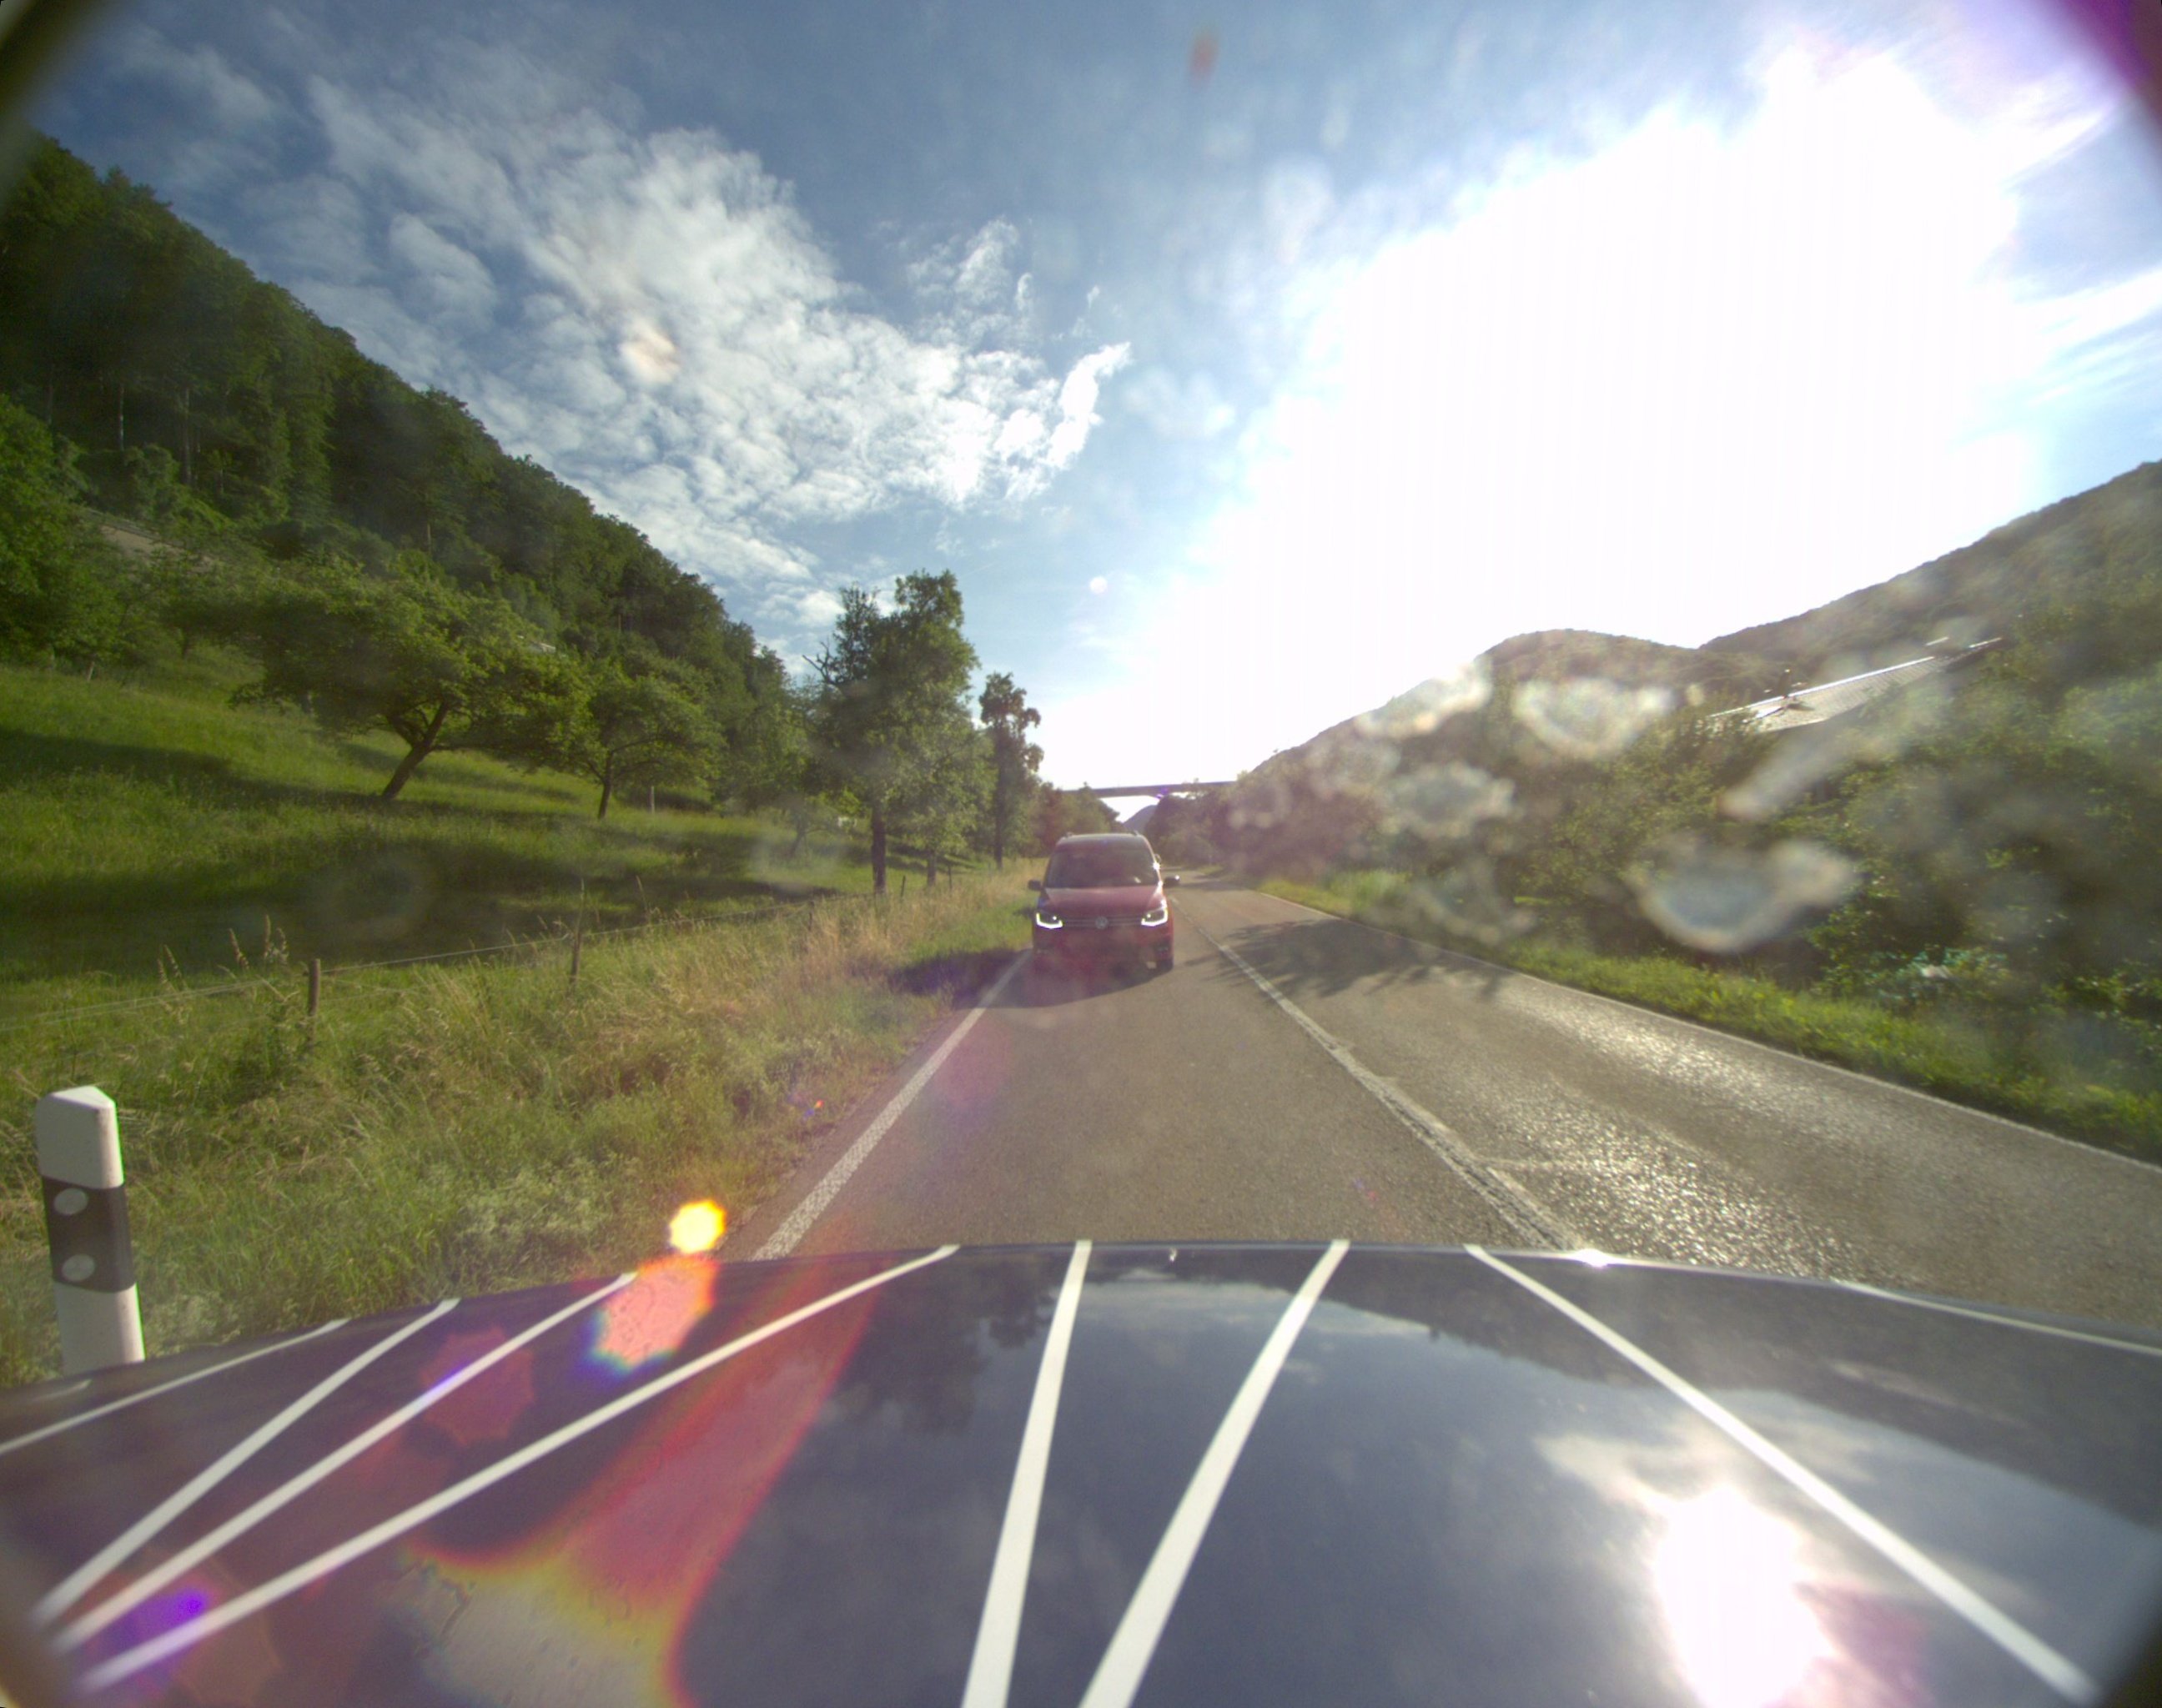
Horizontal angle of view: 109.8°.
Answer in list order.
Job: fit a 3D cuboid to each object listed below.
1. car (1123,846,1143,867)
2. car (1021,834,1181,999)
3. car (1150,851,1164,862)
[{"bbox_3d":[5.417,0.218,79.210,1.998,2.002,4.000,-2,1,3],"label":"car"},{"bbox_3d":[0.287,0.694,10.460,1.741,1.803,4.000,-1,0,2],"label":"car"},{"bbox_3d":[10.213,0.341,102.052,1.696,1.401,3.664,-1,1,4],"label":"car"}]
